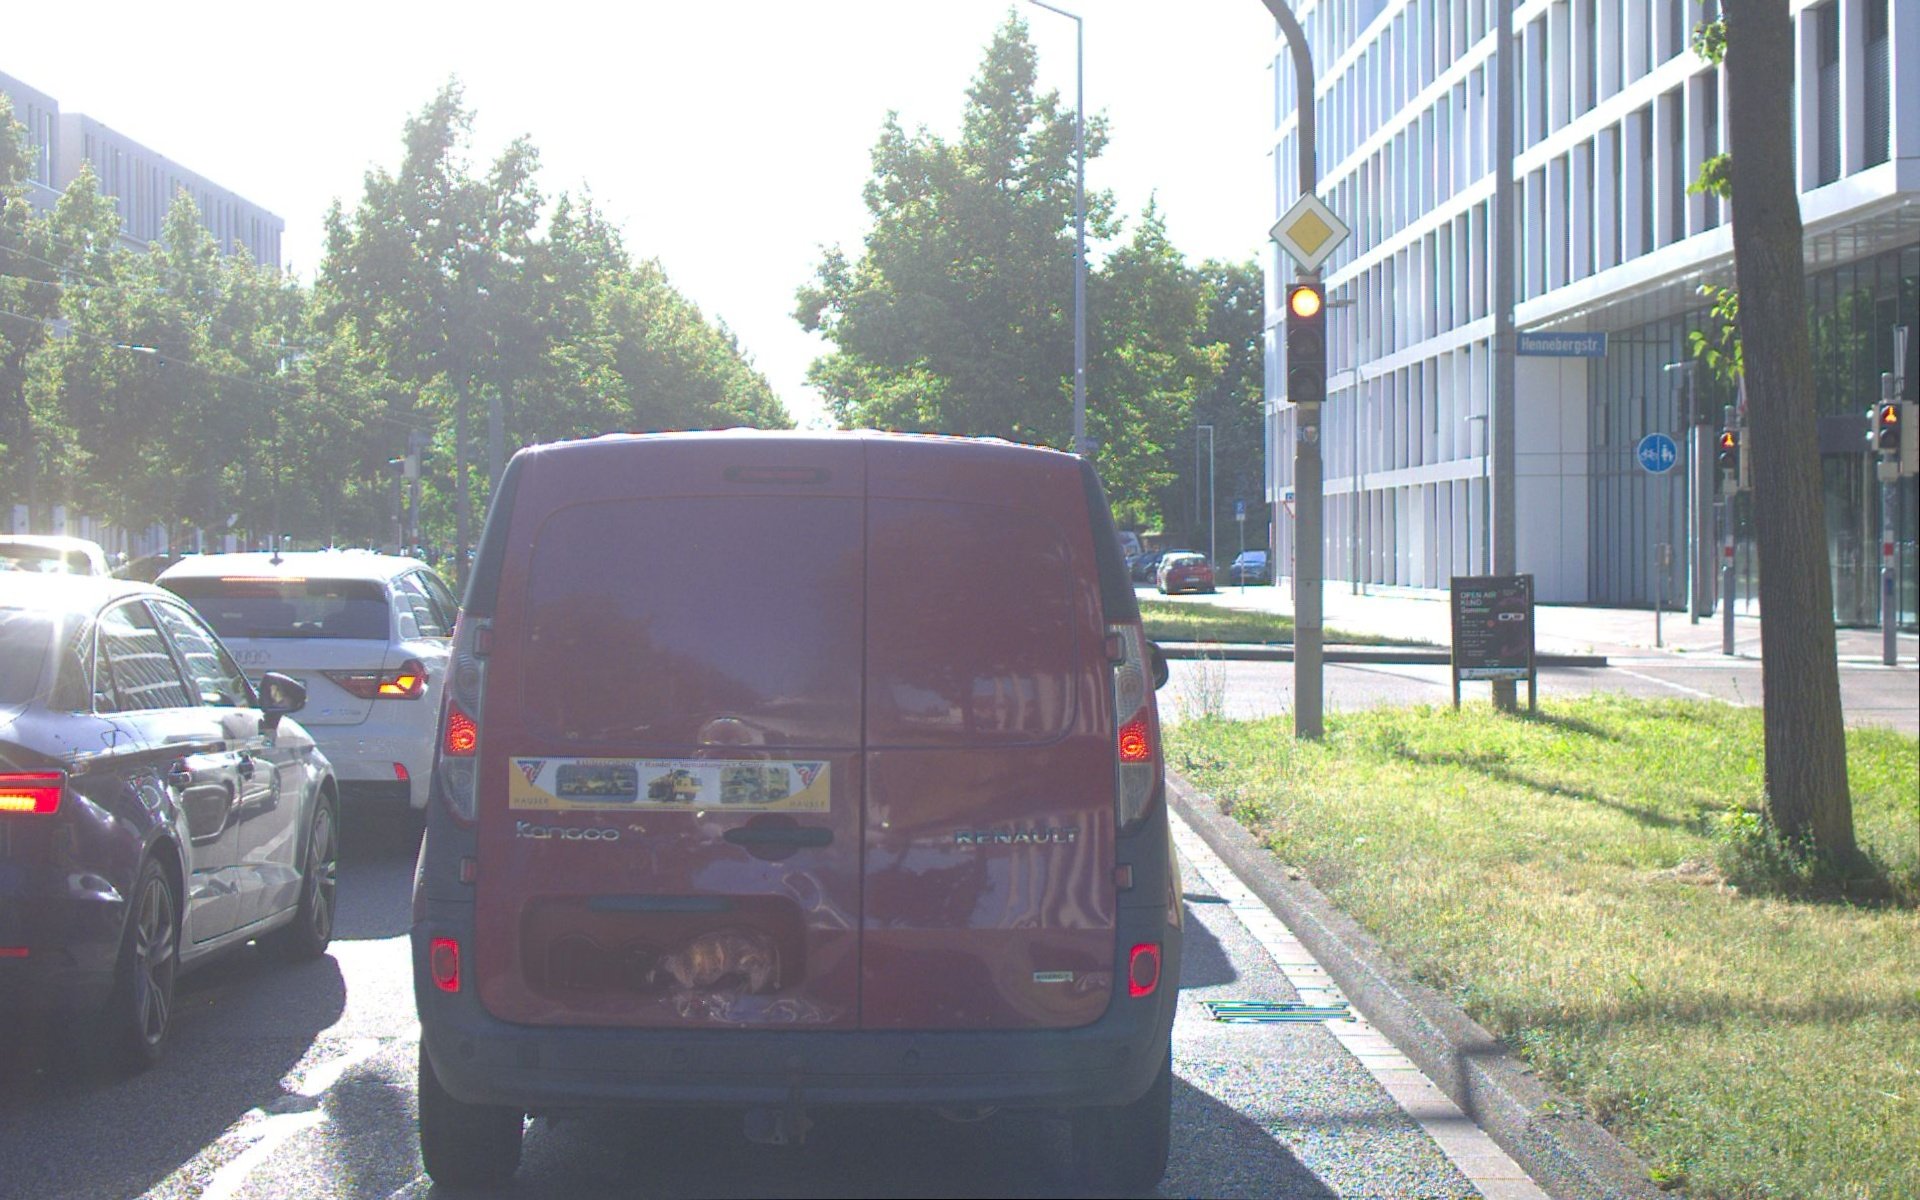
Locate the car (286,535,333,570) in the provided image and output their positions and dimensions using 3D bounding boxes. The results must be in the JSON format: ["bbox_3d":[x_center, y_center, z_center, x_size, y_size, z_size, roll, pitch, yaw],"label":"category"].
[{"bbox_3d":[-37.681,-2.772,199.235,1.993,2.007,4.000,0,1,-1],"label":"car"}]

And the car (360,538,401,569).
[{"bbox_3d":[-37.552,-3.029,222.877,1.993,2.007,4.000,0,1,-1],"label":"car"}]

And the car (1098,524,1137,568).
[{"bbox_3d":[9.068,-3.138,198.338,1.993,2.488,4.987,0,1,-1],"label":"car"}]

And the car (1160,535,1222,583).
[{"bbox_3d":[8.578,-1.537,127.856,1.993,1.776,4.000,0,1,-1],"label":"car"}]

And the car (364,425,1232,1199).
[{"bbox_3d":[-0.370,0.481,9.315,1.842,1.774,4.000,0,1,-1],"label":"car"}]

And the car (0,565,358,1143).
[{"bbox_3d":[-3.178,0.622,10.872,1.842,1.421,4.339,0,1,-1],"label":"car"}]

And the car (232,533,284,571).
[{"bbox_3d":[-37.230,-2.568,182.421,1.993,2.007,4.000,0,1,-1],"label":"car"}]

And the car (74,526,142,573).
[{"bbox_3d":[-36.981,-2.191,149.334,1.993,2.007,4.000,0,1,-1],"label":"car"}]

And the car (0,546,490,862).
[{"bbox_3d":[-3.554,0.444,17.598,1.803,1.421,3.901,0,1,-1],"label":"car"}]

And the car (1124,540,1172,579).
[{"bbox_3d":[8.782,-1.893,160.631,1.993,1.776,4.000,0,1,-1],"label":"car"}]

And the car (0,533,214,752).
[{"bbox_3d":[-7.151,0.262,26.924,1.799,1.478,4.569,3,1,-3],"label":"car"}]

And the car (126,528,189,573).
[{"bbox_3d":[-36.968,-2.292,158.435,1.993,2.007,4.000,0,1,-1],"label":"car"}]

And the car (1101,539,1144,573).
[{"bbox_3d":[8.483,-2.316,179.828,1.993,1.776,4.000,0,1,-1],"label":"car"}]
